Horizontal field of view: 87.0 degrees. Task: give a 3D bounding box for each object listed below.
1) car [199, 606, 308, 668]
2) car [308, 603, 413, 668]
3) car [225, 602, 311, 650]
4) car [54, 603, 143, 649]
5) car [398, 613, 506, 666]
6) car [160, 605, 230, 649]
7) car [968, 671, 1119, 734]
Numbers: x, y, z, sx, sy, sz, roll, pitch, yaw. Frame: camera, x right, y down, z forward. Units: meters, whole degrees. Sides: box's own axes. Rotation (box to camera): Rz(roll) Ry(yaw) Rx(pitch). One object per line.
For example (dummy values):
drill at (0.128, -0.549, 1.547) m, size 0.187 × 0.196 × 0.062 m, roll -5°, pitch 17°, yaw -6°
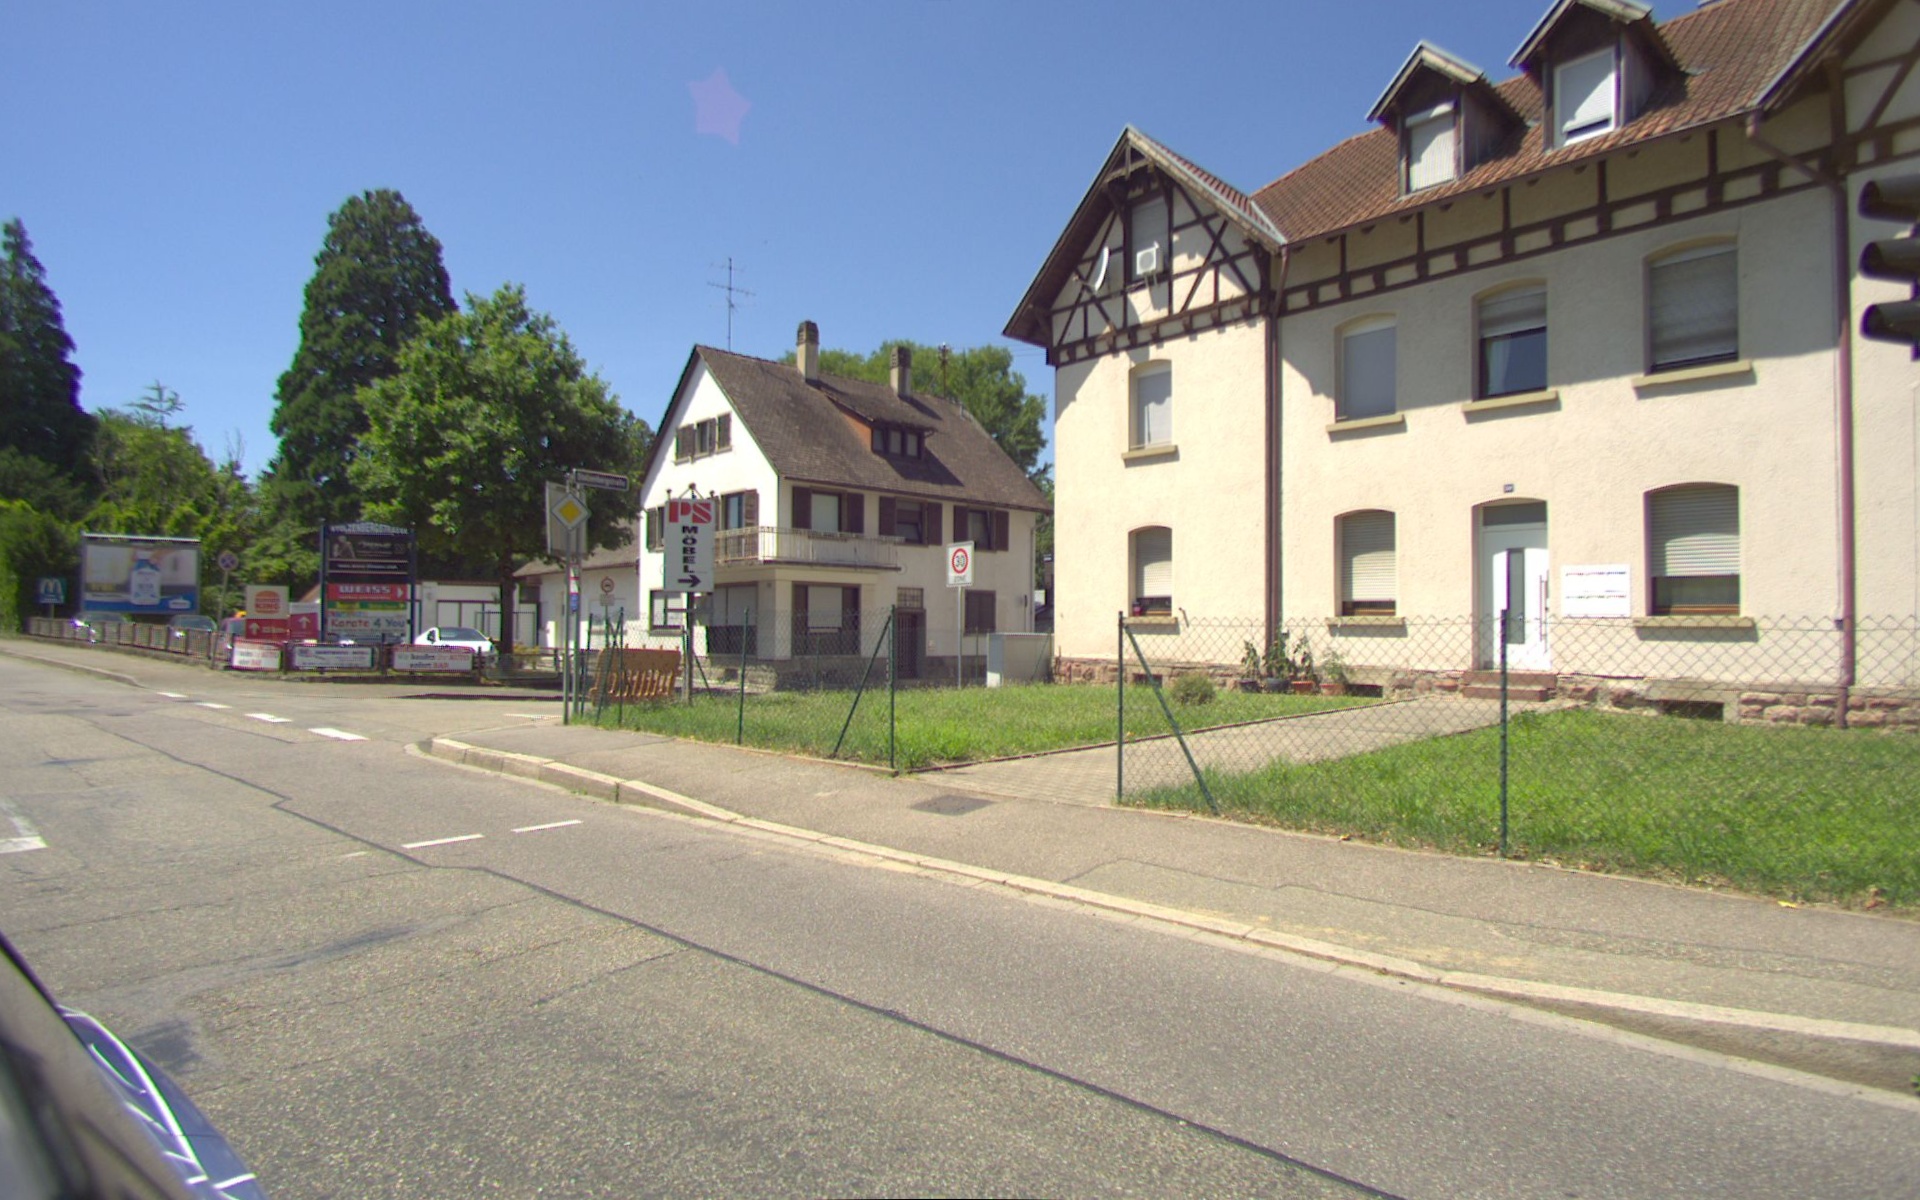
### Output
car at (-19.158, 0.967, 27.391) m, size 1.773 × 1.530 × 4.003 m, roll 2°, pitch -2°, yaw -44°
car at (-17.298, 0.969, 29.093) m, size 1.772 × 1.691 × 4.631 m, roll 2°, pitch -2°, yaw -41°
car at (-27.951, 1.037, 40.852) m, size 3.996 × 1.755 × 1.776 m, roll 2°, pitch -1°, yaw 39°
car at (-32.024, 0.945, 37.584) m, size 3.996 × 1.529 × 1.776 m, roll 2°, pitch -1°, yaw 39°
car at (-15.318, 1.155, 30.424) m, size 1.773 × 1.445 × 4.003 m, roll 2°, pitch -2°, yaw -44°
car at (-30.078, 1.035, 39.755) m, size 1.772 × 1.529 × 4.005 m, roll 3°, pitch -1°, yaw -42°
car at (2.265, 2.653, 26.817) m, size 3.939 × 1.445 × 1.802 m, roll 3°, pitch -3°, yaw -43°
